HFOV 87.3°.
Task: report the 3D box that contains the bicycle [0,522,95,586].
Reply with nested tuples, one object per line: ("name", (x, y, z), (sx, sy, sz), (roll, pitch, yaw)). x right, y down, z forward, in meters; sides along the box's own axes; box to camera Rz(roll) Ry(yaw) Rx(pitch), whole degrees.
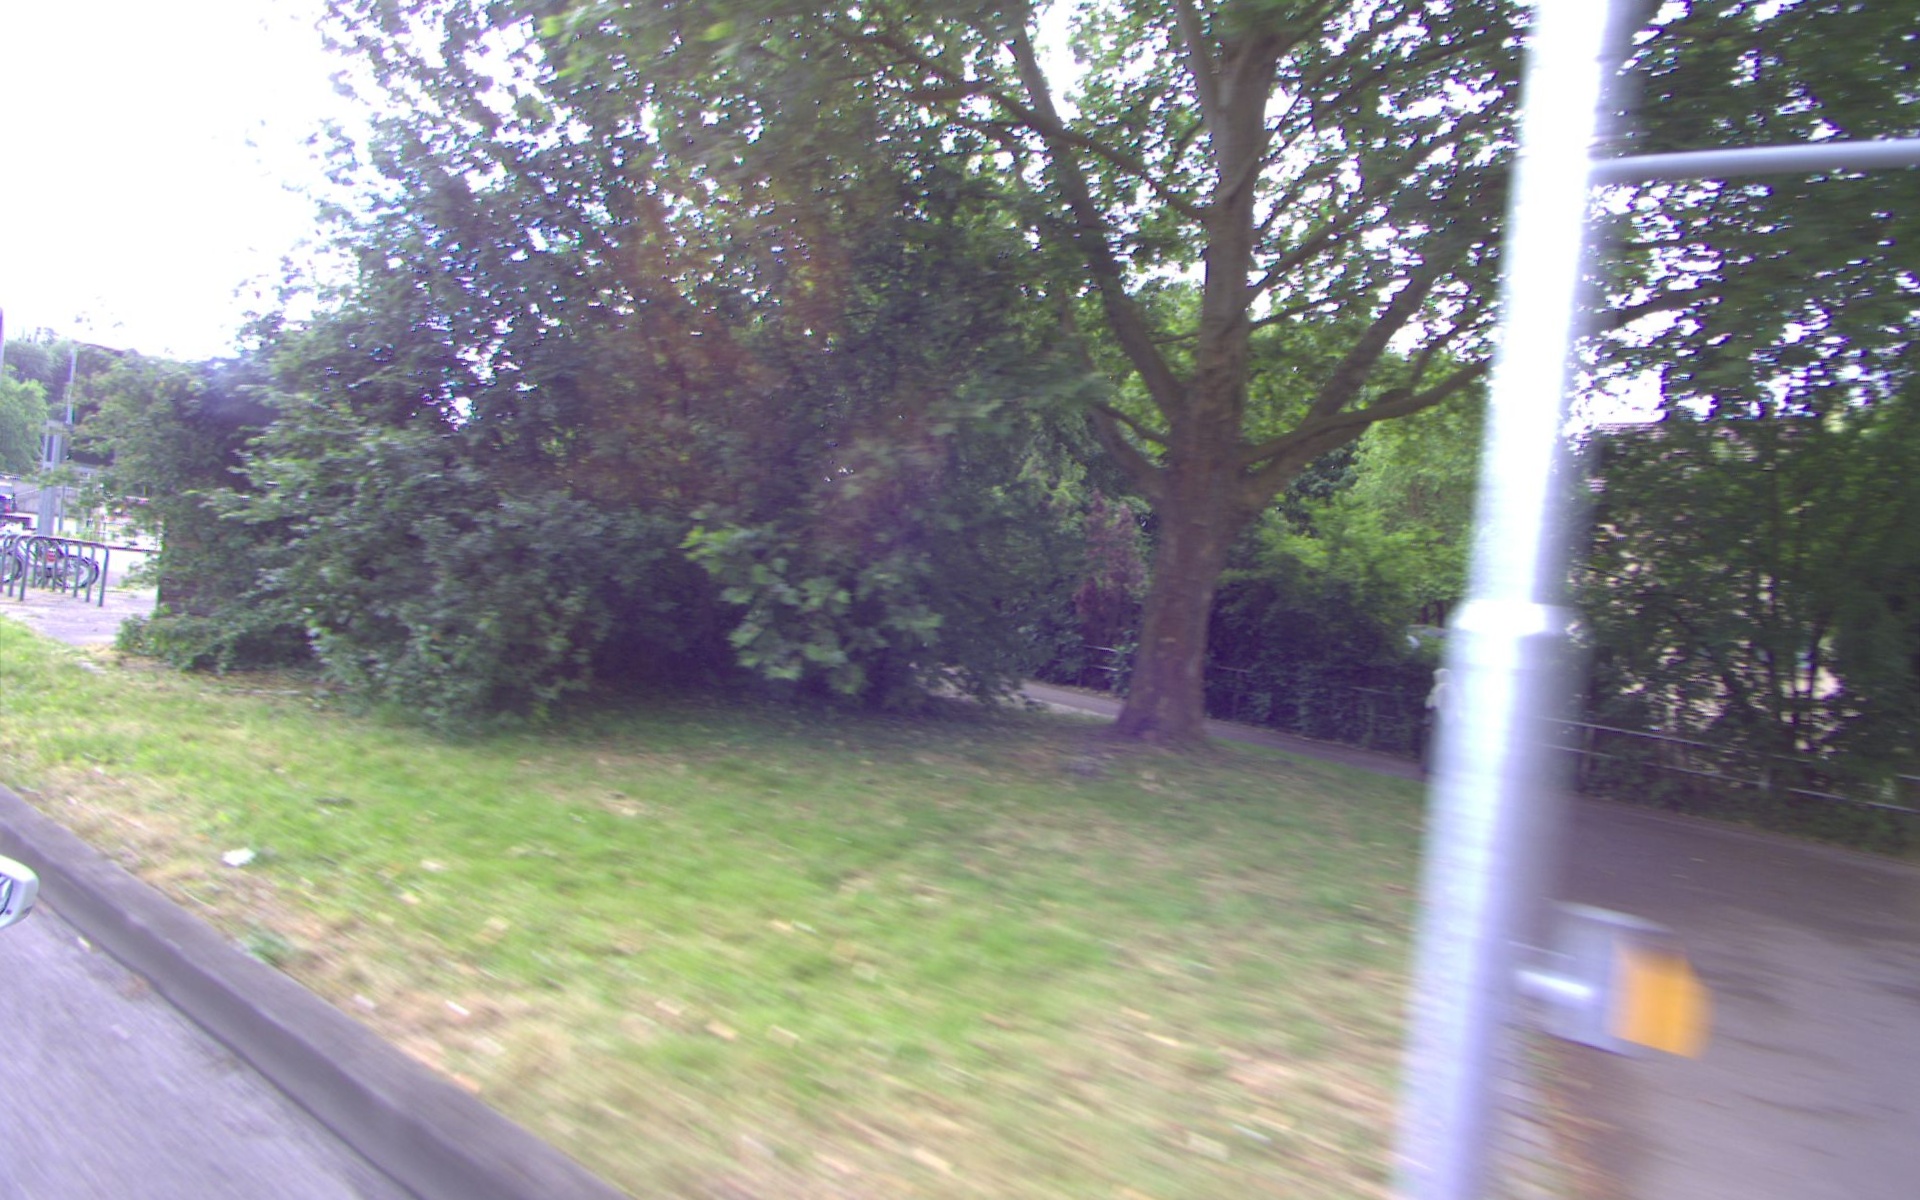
("bicycle", (-18.966, -0.951, 20.592), (0.533, 1.124, 1.776), (4, -2, 40))

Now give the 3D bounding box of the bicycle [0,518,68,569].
("bicycle", (-24.108, -1.476, 25.819), (0.472, 1.125, 1.687), (9, 1, 40))

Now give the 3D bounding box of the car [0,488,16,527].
("car", (-47.675, -4.631, 47.222), (1.580, 1.796, 4.550), (7, 0, 30))

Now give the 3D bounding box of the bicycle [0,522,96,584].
("bicycle", (-19.732, -1.016, 21.505), (0.545, 1.124, 1.777), (6, -1, 40))

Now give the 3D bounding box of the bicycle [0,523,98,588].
("bicycle", (-18.466, -0.907, 20.084), (0.572, 1.124, 1.776), (6, -1, 40))

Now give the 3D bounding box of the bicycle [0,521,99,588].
("bicycle", (-17.491, -0.869, 18.996), (1.765, 1.124, 0.422), (6, 0, -31))

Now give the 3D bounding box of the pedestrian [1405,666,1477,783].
("pedestrian", (7.058, 1.803, 14.758), (0.731, 1.571, 0.684), (7, 1, 33))

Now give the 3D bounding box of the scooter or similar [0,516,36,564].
("scooter or similar", (-25.375, -1.614, 26.705), (1.177, 1.184, 0.290), (6, 1, -43))

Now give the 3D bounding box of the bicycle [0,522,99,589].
("bicycle", (-17.979, -0.875, 19.563), (1.773, 1.124, 0.449), (7, -1, -45))
